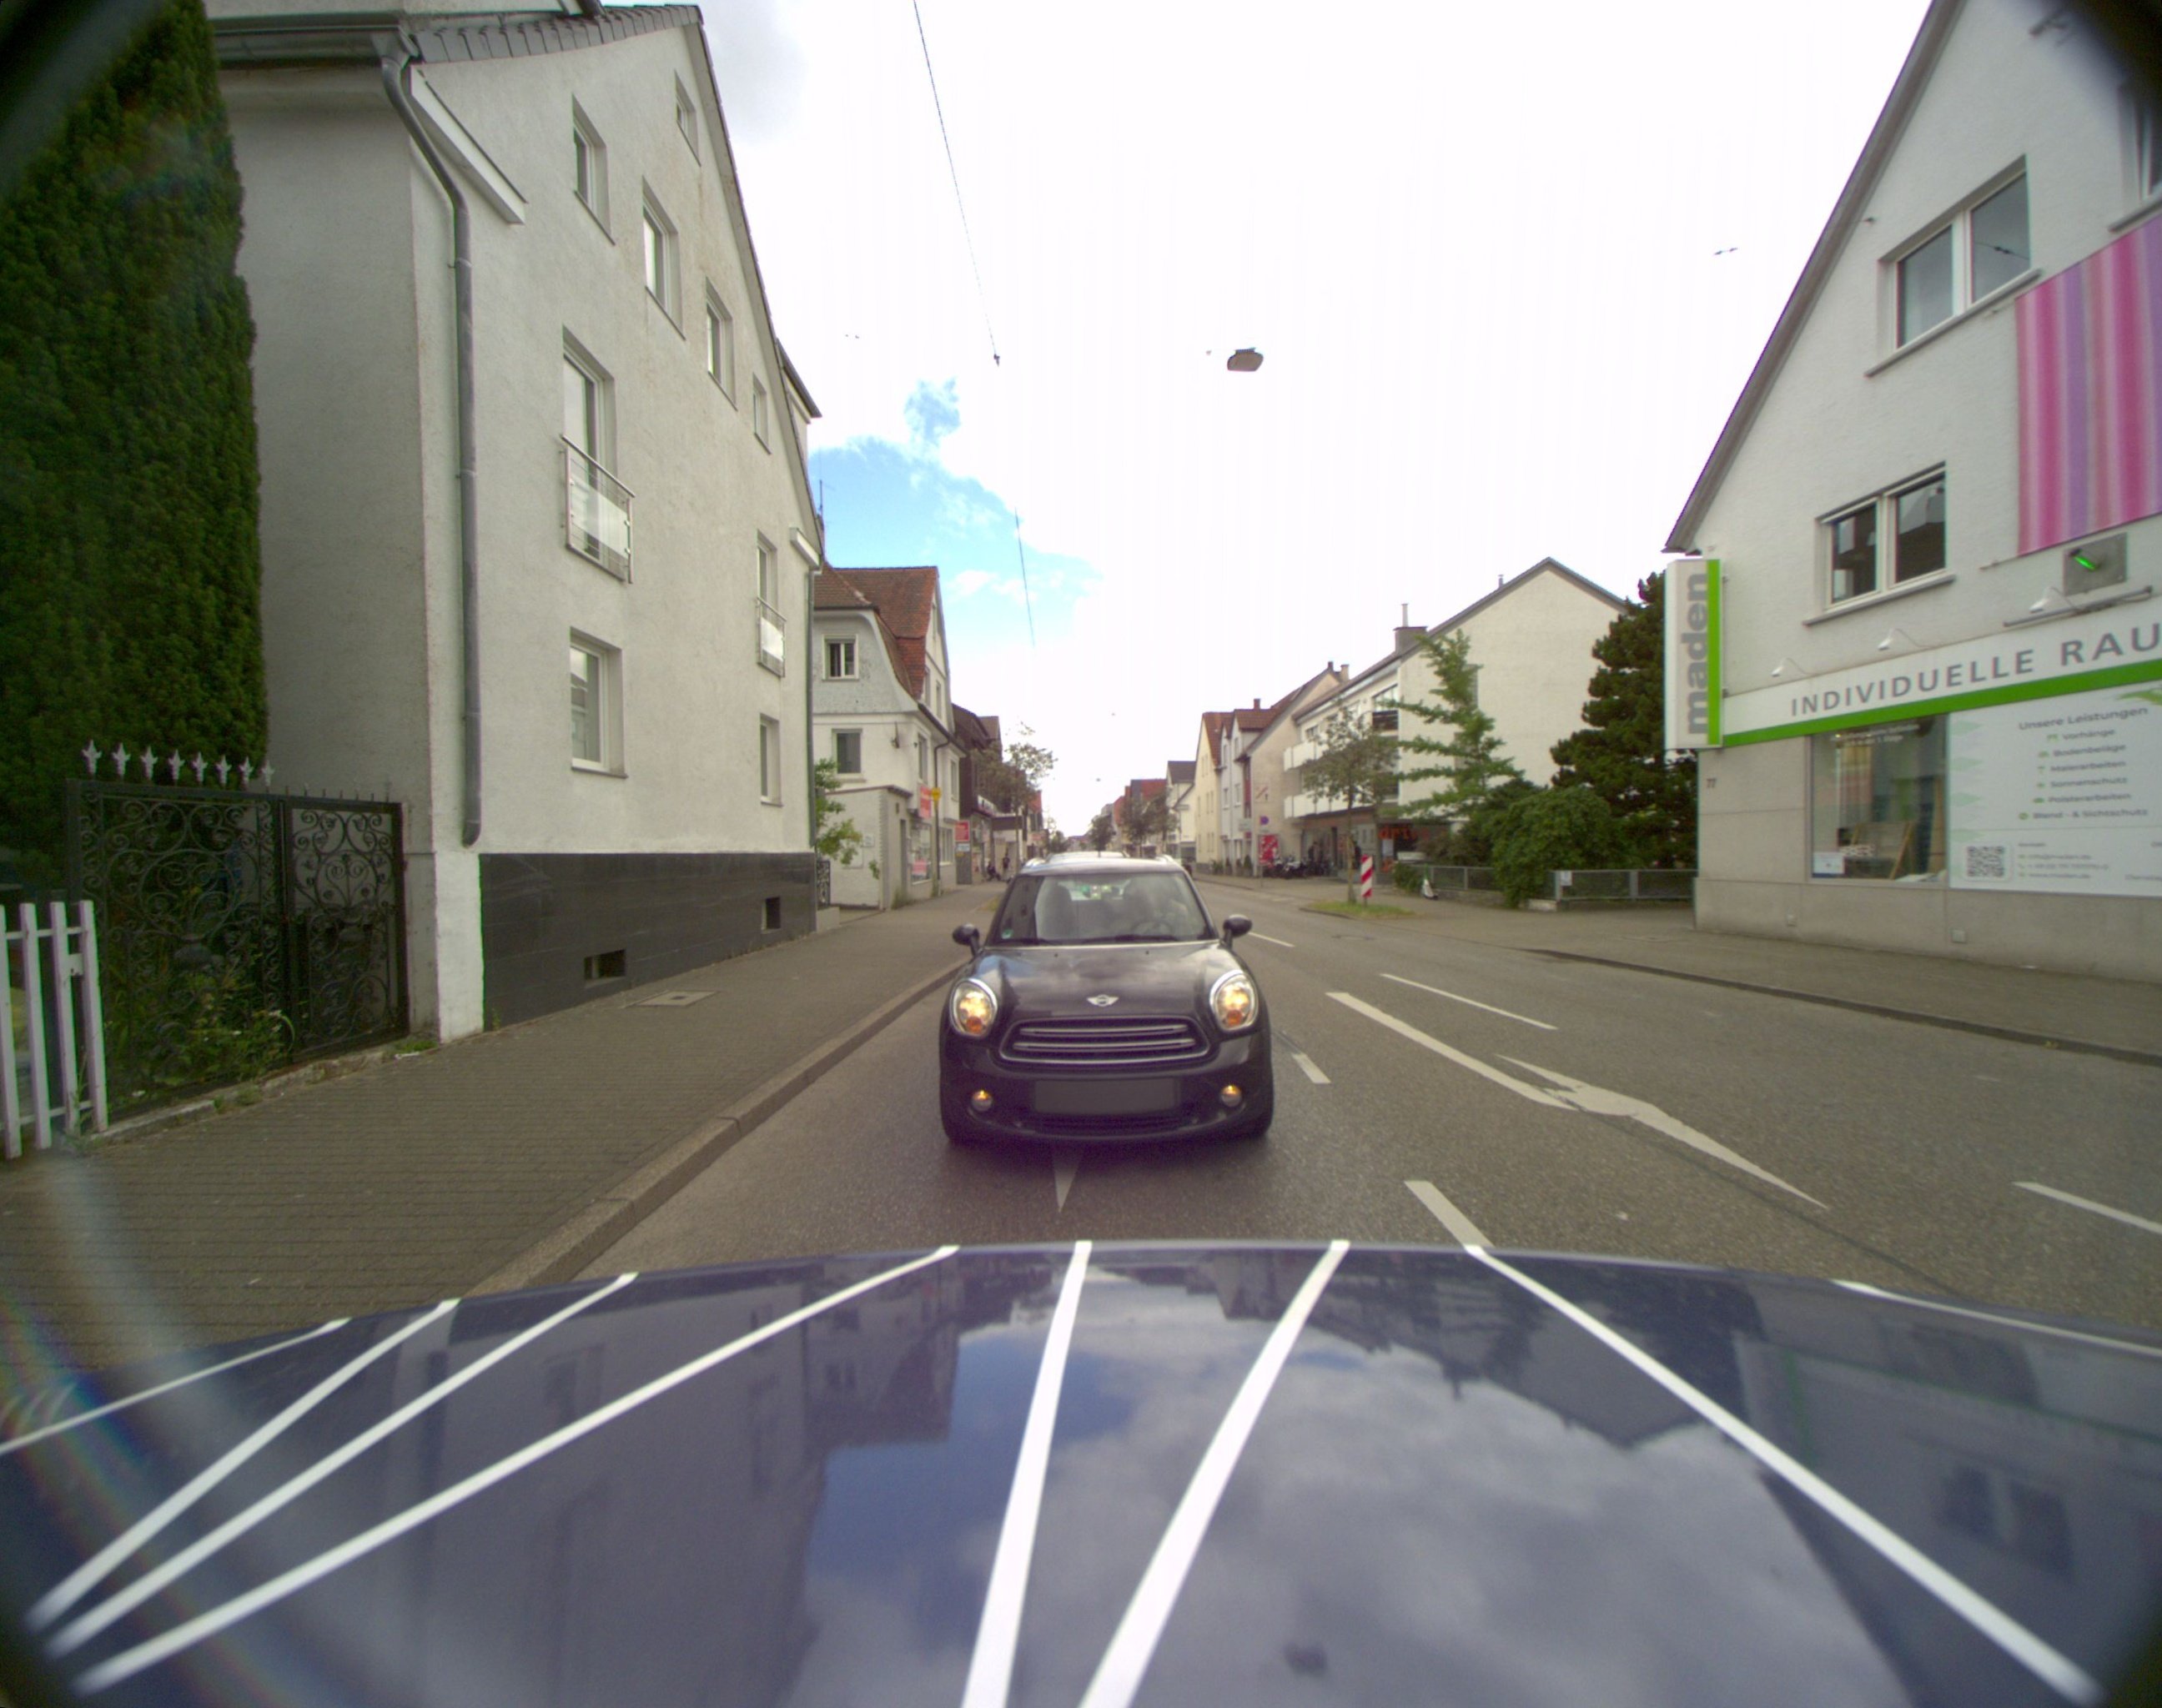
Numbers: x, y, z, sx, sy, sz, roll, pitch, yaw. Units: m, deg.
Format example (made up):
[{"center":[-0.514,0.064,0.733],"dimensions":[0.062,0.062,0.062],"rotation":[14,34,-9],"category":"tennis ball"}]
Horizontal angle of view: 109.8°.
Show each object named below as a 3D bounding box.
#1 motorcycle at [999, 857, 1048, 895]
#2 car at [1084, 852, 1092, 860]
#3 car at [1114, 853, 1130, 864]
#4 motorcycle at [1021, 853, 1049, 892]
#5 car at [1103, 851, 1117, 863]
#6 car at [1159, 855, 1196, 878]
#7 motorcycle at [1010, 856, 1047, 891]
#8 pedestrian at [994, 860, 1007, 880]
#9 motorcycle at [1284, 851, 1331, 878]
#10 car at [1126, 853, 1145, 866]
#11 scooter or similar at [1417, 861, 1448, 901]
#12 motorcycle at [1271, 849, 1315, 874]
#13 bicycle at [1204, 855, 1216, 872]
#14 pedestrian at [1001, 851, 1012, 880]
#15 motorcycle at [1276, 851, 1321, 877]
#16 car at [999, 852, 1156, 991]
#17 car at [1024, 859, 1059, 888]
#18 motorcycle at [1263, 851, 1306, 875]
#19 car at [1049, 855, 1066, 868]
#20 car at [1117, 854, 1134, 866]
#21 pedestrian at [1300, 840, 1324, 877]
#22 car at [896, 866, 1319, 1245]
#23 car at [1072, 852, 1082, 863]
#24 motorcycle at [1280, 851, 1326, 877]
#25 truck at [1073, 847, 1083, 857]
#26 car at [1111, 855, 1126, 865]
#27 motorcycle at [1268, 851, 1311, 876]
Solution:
[{"center":[-2.241,0.842,29.379],"dimensions":[0.777,1.373,2.237],"rotation":[-2,1,-37],"category":"motorcycle"},{"center":[1.844,0.458,193.102],"dimensions":[1.855,1.932,4.489],"rotation":[1,0,-2],"category":"car"},{"center":[5.471,0.566,102.149],"dimensions":[1.716,1.389,3.899],"rotation":[-2,0,-2],"category":"car"},{"center":[-1.900,0.747,31.626],"dimensions":[0.672,1.516,2.599],"rotation":[-2,1,6],"category":"motorcycle"},{"center":[4.529,0.391,119.598],"dimensions":[1.999,1.772,3.999],"rotation":[-2,0,0],"category":"car"},{"center":[6.441,0.815,51.132],"dimensions":[1.792,1.409,4.340],"rotation":[0,0,-1],"category":"car"},{"center":[-2.256,0.813,32.929],"dimensions":[0.648,1.432,2.472],"rotation":[-1,1,19],"category":"motorcycle"},{"center":[-4.950,1.008,46.827],"dimensions":[0.742,1.204,0.644],"rotation":[0,1,-1],"category":"pedestrian"},{"center":[11.935,0.539,39.988],"dimensions":[2.231,1.258,0.613],"rotation":[-4,1,-2],"category":"motorcycle"},{"center":[6.154,0.651,86.391],"dimensions":[1.716,1.389,3.899],"rotation":[-2,0,-2],"category":"car"},{"center":[10.364,0.781,22.436],"dimensions":[0.340,1.105,1.180],"rotation":[-2,1,0],"category":"scooter or similar"},{"center":[11.841,0.434,42.477],"dimensions":[2.231,1.258,0.699],"rotation":[-4,1,-2],"category":"motorcycle"},{"center":[9.413,0.702,55.476],"dimensions":[0.515,1.189,2.023],"rotation":[-2,1,-1],"category":"bicycle"},{"center":[-4.510,0.707,46.080],"dimensions":[0.644,1.730,0.742],"rotation":[0,1,-6],"category":"pedestrian"},{"center":[11.933,0.541,41.739],"dimensions":[2.231,1.258,0.613],"rotation":[-4,1,-2],"category":"motorcycle"},{"center":[-0.024,0.816,11.589],"dimensions":[1.855,1.615,4.736],"rotation":[-2,0,0],"category":"car"},{"center":[-2.194,1.068,43.243],"dimensions":[1.830,1.400,4.564],"rotation":[-2,0,-1],"category":"car"},{"center":[11.785,0.532,43.992],"dimensions":[2.231,1.258,0.613],"rotation":[-4,1,-2],"category":"motorcycle"},{"center":[-2.618,0.856,85.520],"dimensions":[1.794,1.356,3.948],"rotation":[1,0,0],"category":"car"},{"center":[5.635,0.788,97.011],"dimensions":[1.716,1.389,3.899],"rotation":[-2,0,-2],"category":"car"},{"center":[11.763,0.222,38.736],"dimensions":[0.753,1.838,1.019],"rotation":[-5,1,0],"category":"pedestrian"},{"center":[0.048,0.934,5.769],"dimensions":[1.855,1.527,4.735],"rotation":[-2,0,-2],"category":"car"},{"center":[-0.840,0.680,155.105],"dimensions":[2.059,2.002,4.186],"rotation":[-2,0,-1],"category":"car"},{"center":[11.944,0.546,40.861],"dimensions":[2.231,1.258,0.613],"rotation":[-4,1,-2],"category":"motorcycle"},{"center":[-0.894,-0.590,219.281],"dimensions":[2.800,3.020,8.250],"rotation":[-2,0,0],"category":"truck"},{"center":[5.265,0.813,107.796],"dimensions":[1.716,1.389,3.899],"rotation":[-2,0,-2],"category":"car"},{"center":[11.856,0.534,43.272],"dimensions":[2.231,1.258,0.613],"rotation":[-4,1,-2],"category":"motorcycle"}]
